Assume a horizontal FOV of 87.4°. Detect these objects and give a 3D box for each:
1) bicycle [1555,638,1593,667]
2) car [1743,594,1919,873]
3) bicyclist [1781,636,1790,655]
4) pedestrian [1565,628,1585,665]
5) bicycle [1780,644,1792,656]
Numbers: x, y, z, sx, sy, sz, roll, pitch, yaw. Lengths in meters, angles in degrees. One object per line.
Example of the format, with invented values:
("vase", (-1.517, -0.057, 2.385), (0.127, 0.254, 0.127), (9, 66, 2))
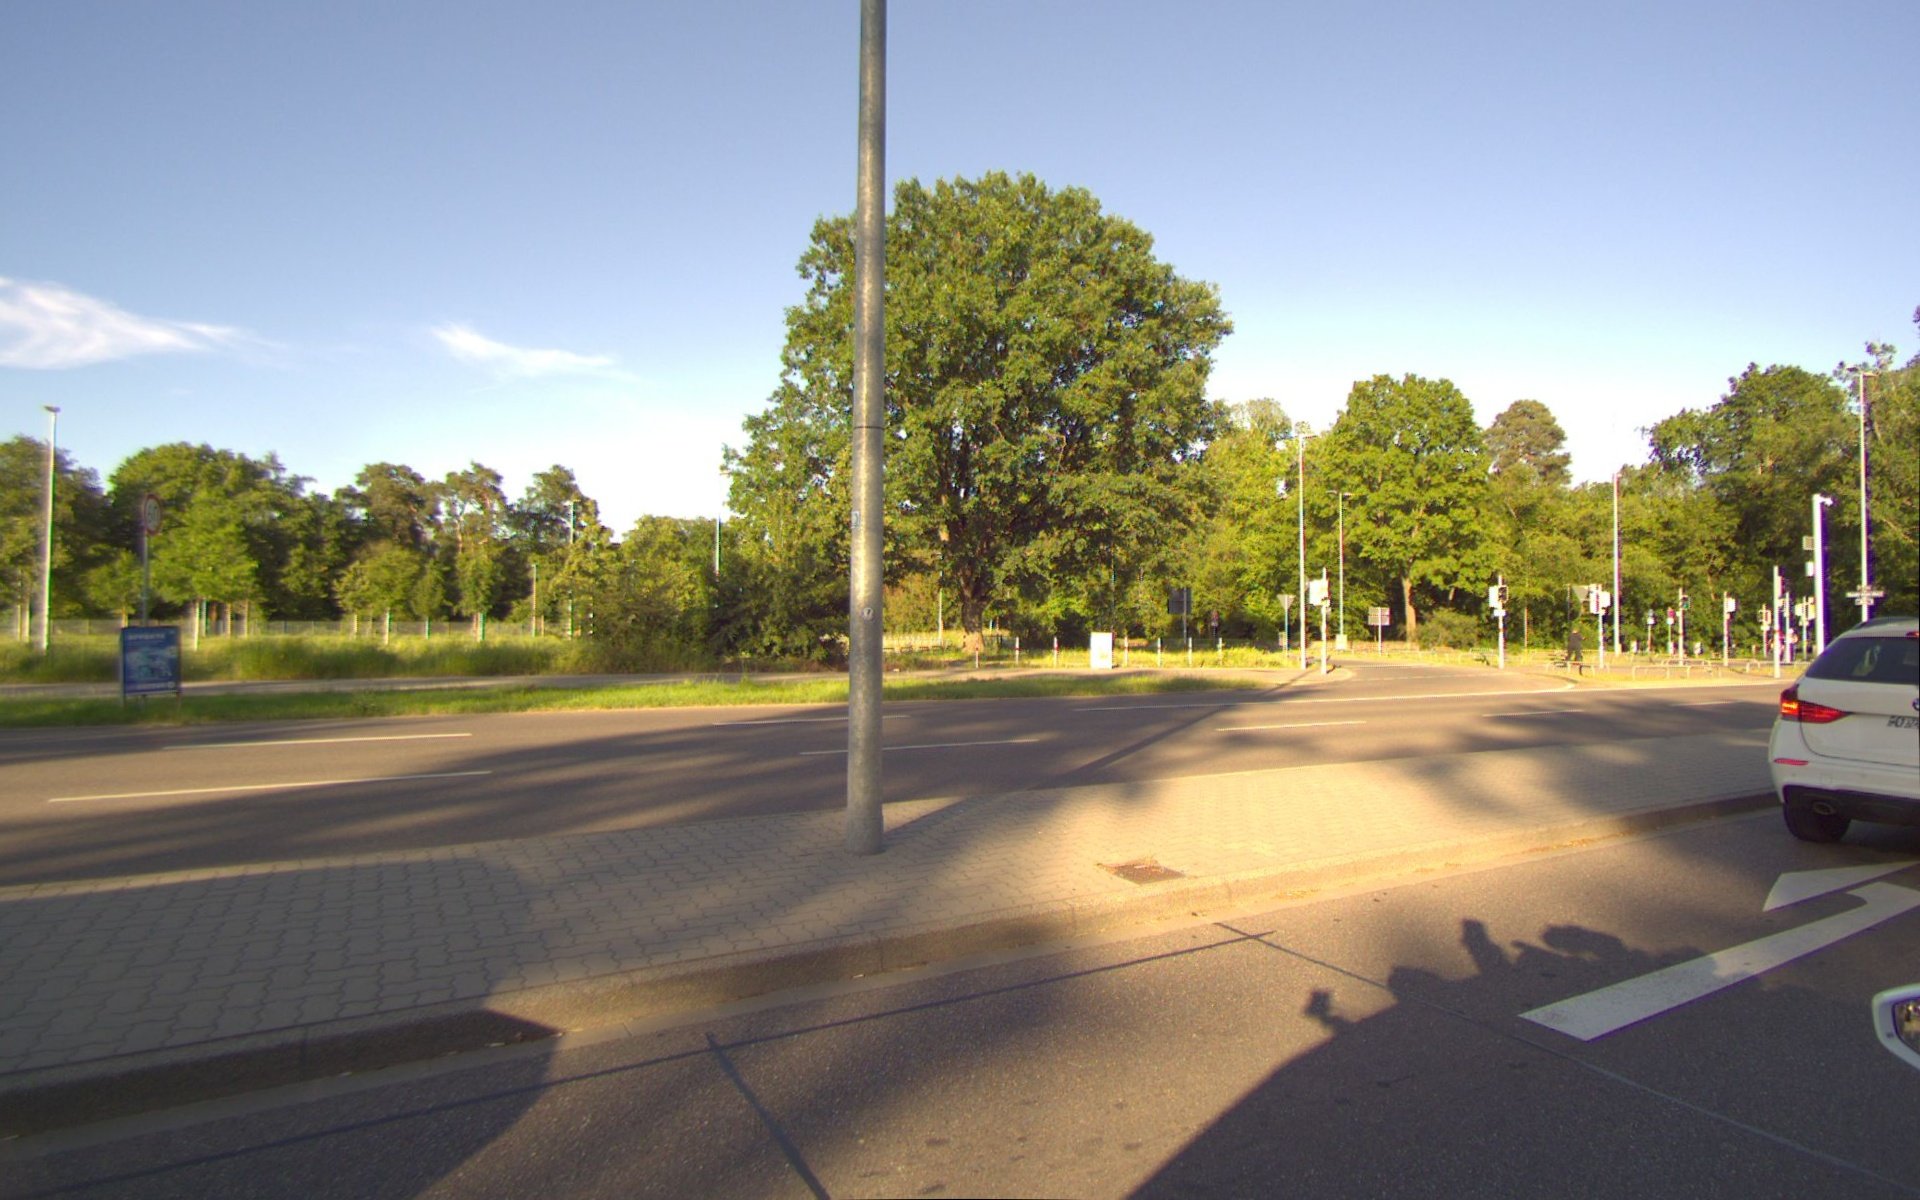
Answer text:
("bicycle", (26.201, 2.239, 42.839), (1.980, 1.193, 0.466), (2, 0, -31))
("car", (7.418, 0.802, 6.915), (4.382, 1.602, 1.710), (1, 0, -31))
("bicyclist", (44.276, 2.430, 53.867), (0.238, 0.975, 0.271), (2, 0, -34))
("pedestrian", (26.249, 1.981, 42.873), (0.641, 1.583, 0.479), (2, 0, -30))
("bicycle", (44.304, 2.685, 53.884), (0.831, 0.589, 0.264), (2, 0, -36))
